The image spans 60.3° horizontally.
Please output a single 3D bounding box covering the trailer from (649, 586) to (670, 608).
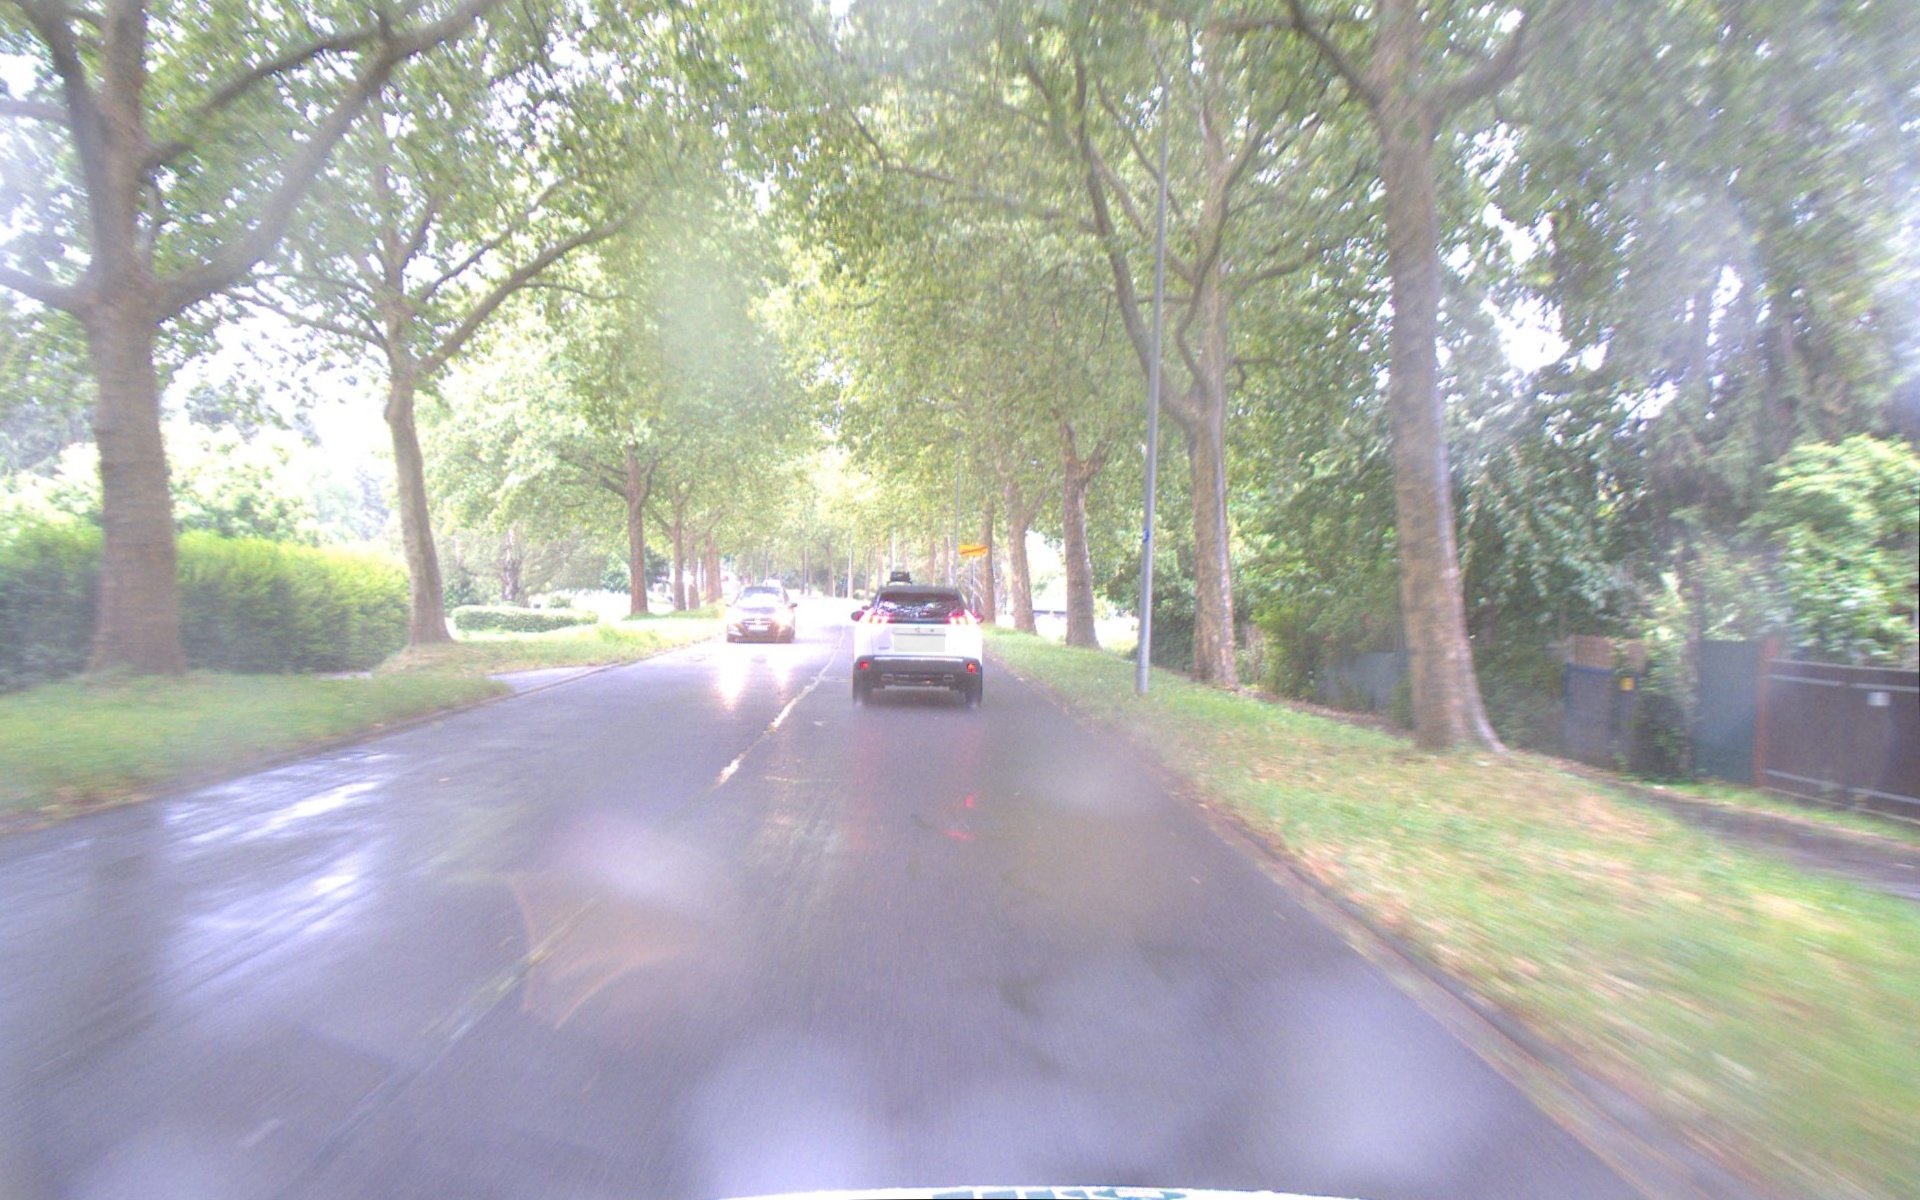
[{"bbox_3d":[-36.820,-0.369,202.504,2.440,2.612,5.319,2,0,-11],"label":"trailer"}]

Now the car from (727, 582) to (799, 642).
[{"bbox_3d":[-5.431,0.304,46.066,1.809,1.528,3.996,2,0,-5],"label":"car"}]

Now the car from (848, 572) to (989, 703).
[{"bbox_3d":[-0.578,0.457,23.096,1.757,1.606,3.843,2,1,-2],"label":"car"}]
